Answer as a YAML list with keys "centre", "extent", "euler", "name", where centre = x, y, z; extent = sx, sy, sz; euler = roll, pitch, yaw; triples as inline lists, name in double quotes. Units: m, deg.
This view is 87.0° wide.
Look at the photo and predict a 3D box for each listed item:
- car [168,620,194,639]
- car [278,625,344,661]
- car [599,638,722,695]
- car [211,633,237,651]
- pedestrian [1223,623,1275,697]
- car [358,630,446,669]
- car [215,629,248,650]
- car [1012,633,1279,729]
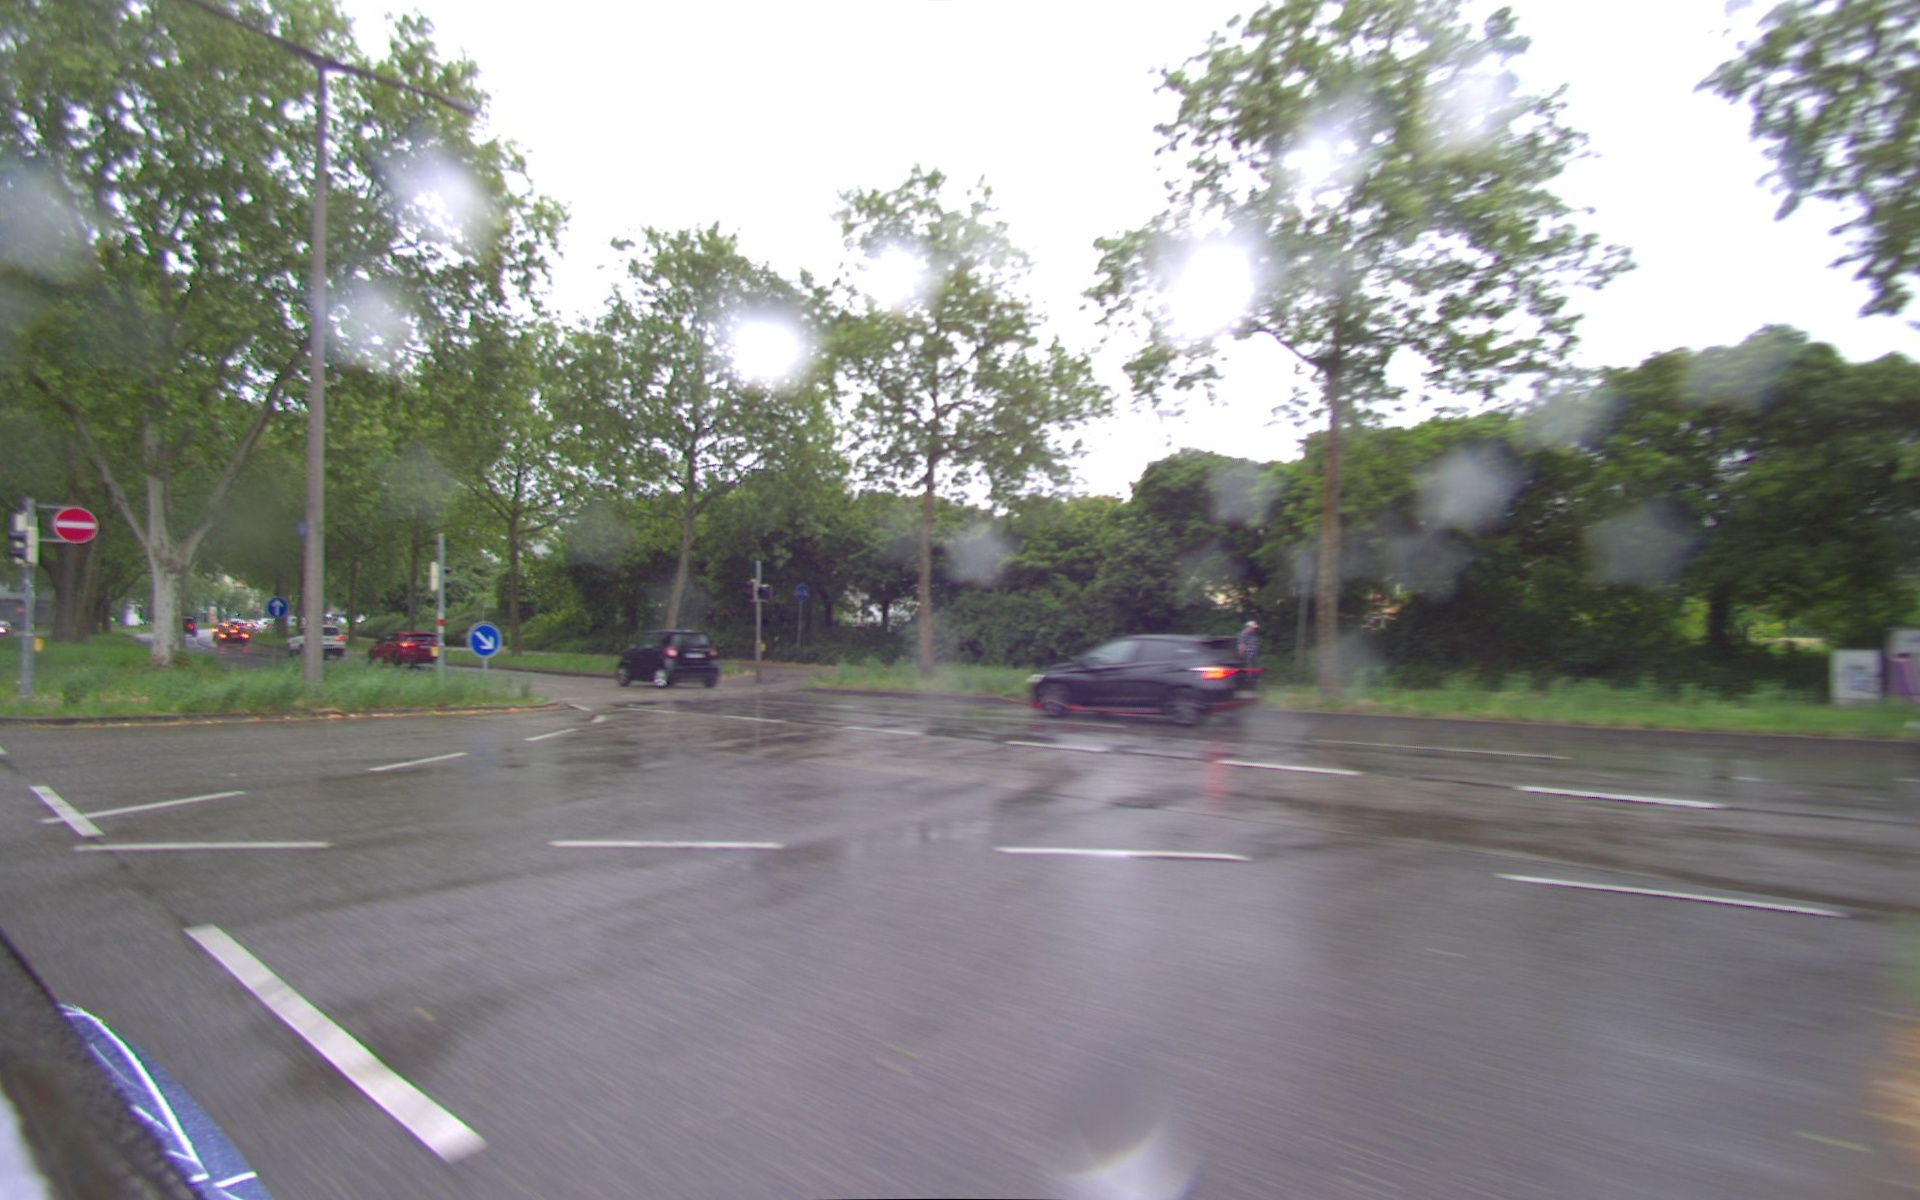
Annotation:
- centre: [-78.387, 2.960, 101.888]
  extent: [1.720, 1.856, 5.133]
  euler: [2, -2, -35]
  name: "car"
- centre: [-31.888, 2.074, 49.685]
  extent: [4.446, 1.644, 1.723]
  euler: [-1, -2, 44]
  name: "car"
- centre: [-8.032, 1.723, 27.034]
  extent: [3.331, 1.383, 1.571]
  euler: [-1, -2, 40]
  name: "car"
- centre: [-63.861, 3.599, 87.773]
  extent: [1.720, 1.487, 4.244]
  euler: [2, -2, -37]
  name: "car"
- centre: [6.764, 1.389, 23.685]
  extent: [0.899, 1.686, 0.822]
  euler: [-1, -2, 42]
  name: "pedestrian"
- centre: [-22.163, 1.922, 40.130]
  extent: [4.444, 1.419, 1.724]
  euler: [-1, -2, 43]
  name: "car"
- centre: [-51.576, 2.791, 71.596]
  extent: [1.721, 1.450, 4.453]
  euler: [1, -3, -37]
  name: "car"
- centre: [3.024, 1.272, 17.083]
  extent: [4.260, 1.383, 1.570]
  euler: [-1, -2, 41]
  name: "car"
